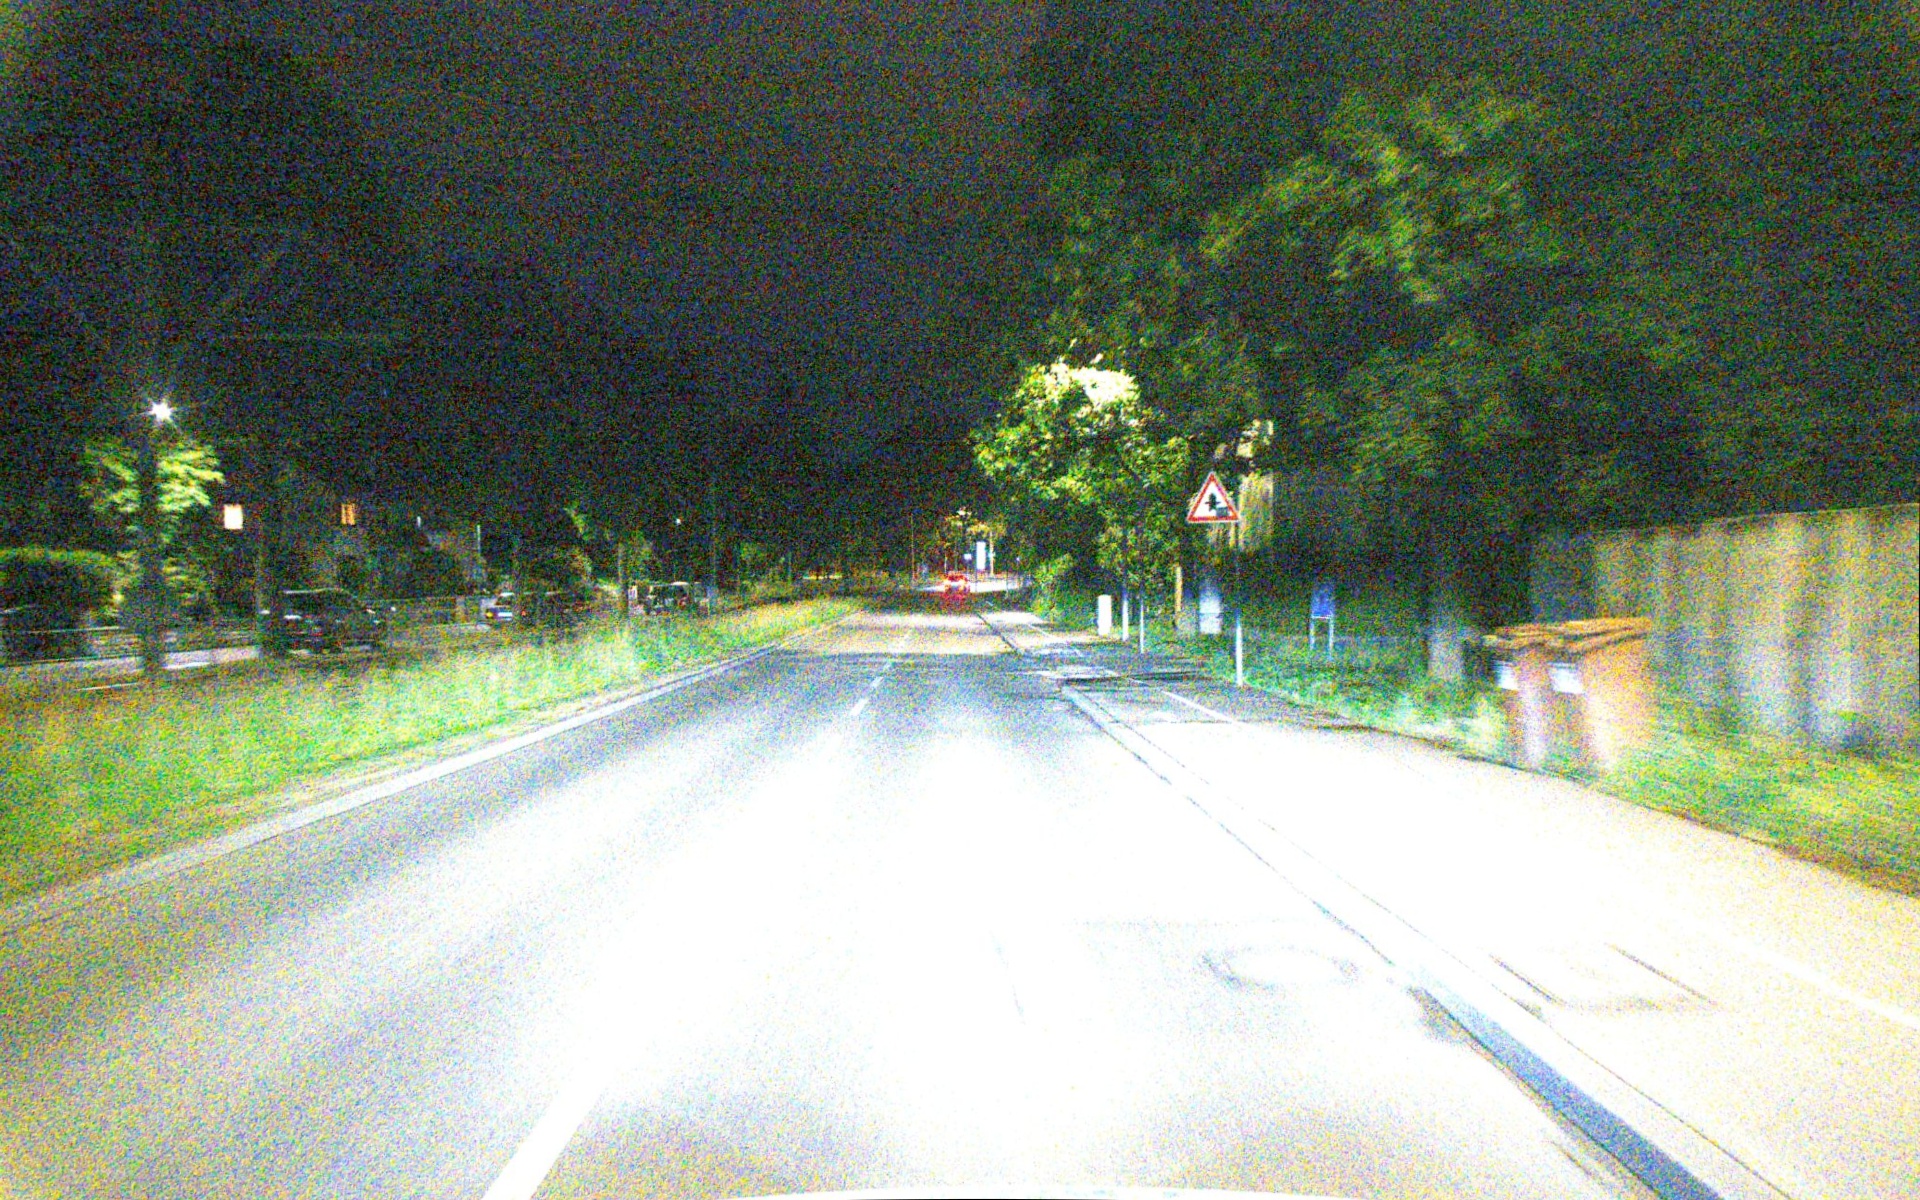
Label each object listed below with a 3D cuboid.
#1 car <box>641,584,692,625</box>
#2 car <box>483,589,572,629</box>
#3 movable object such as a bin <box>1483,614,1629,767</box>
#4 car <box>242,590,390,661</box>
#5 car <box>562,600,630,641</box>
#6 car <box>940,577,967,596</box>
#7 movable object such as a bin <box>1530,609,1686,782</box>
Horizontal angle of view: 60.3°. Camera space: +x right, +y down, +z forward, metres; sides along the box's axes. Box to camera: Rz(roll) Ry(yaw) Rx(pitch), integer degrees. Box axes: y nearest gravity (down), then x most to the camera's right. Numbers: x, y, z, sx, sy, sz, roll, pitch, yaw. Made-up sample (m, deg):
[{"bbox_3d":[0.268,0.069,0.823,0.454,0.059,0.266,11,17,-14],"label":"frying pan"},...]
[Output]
[{"bbox_3d":[-16.244,0.205,91.738,2.050,2.048,3.999,-5,1,-2],"label":"car"},{"bbox_3d":[-15.918,0.320,61.154,1.953,1.361,5.430,2,0,-2],"label":"car"},{"bbox_3d":[4.618,0.682,12.869,0.839,1.139,0.840,0,0,1],"label":"movable object such as a bin"},{"bbox_3d":[-15.905,0.595,41.102,1.953,1.656,4.675,-1,0,-2],"label":"car"},{"bbox_3d":[-14.709,0.800,67.024,1.953,1.556,3.999,-1,0,-2],"label":"car"},{"bbox_3d":[-0.571,-1.131,142.076,2.116,1.610,4.014,0,0,2],"label":"car"},{"bbox_3d":[4.676,0.670,11.995,0.816,1.202,0.828,0,0,1],"label":"movable object such as a bin"}]
